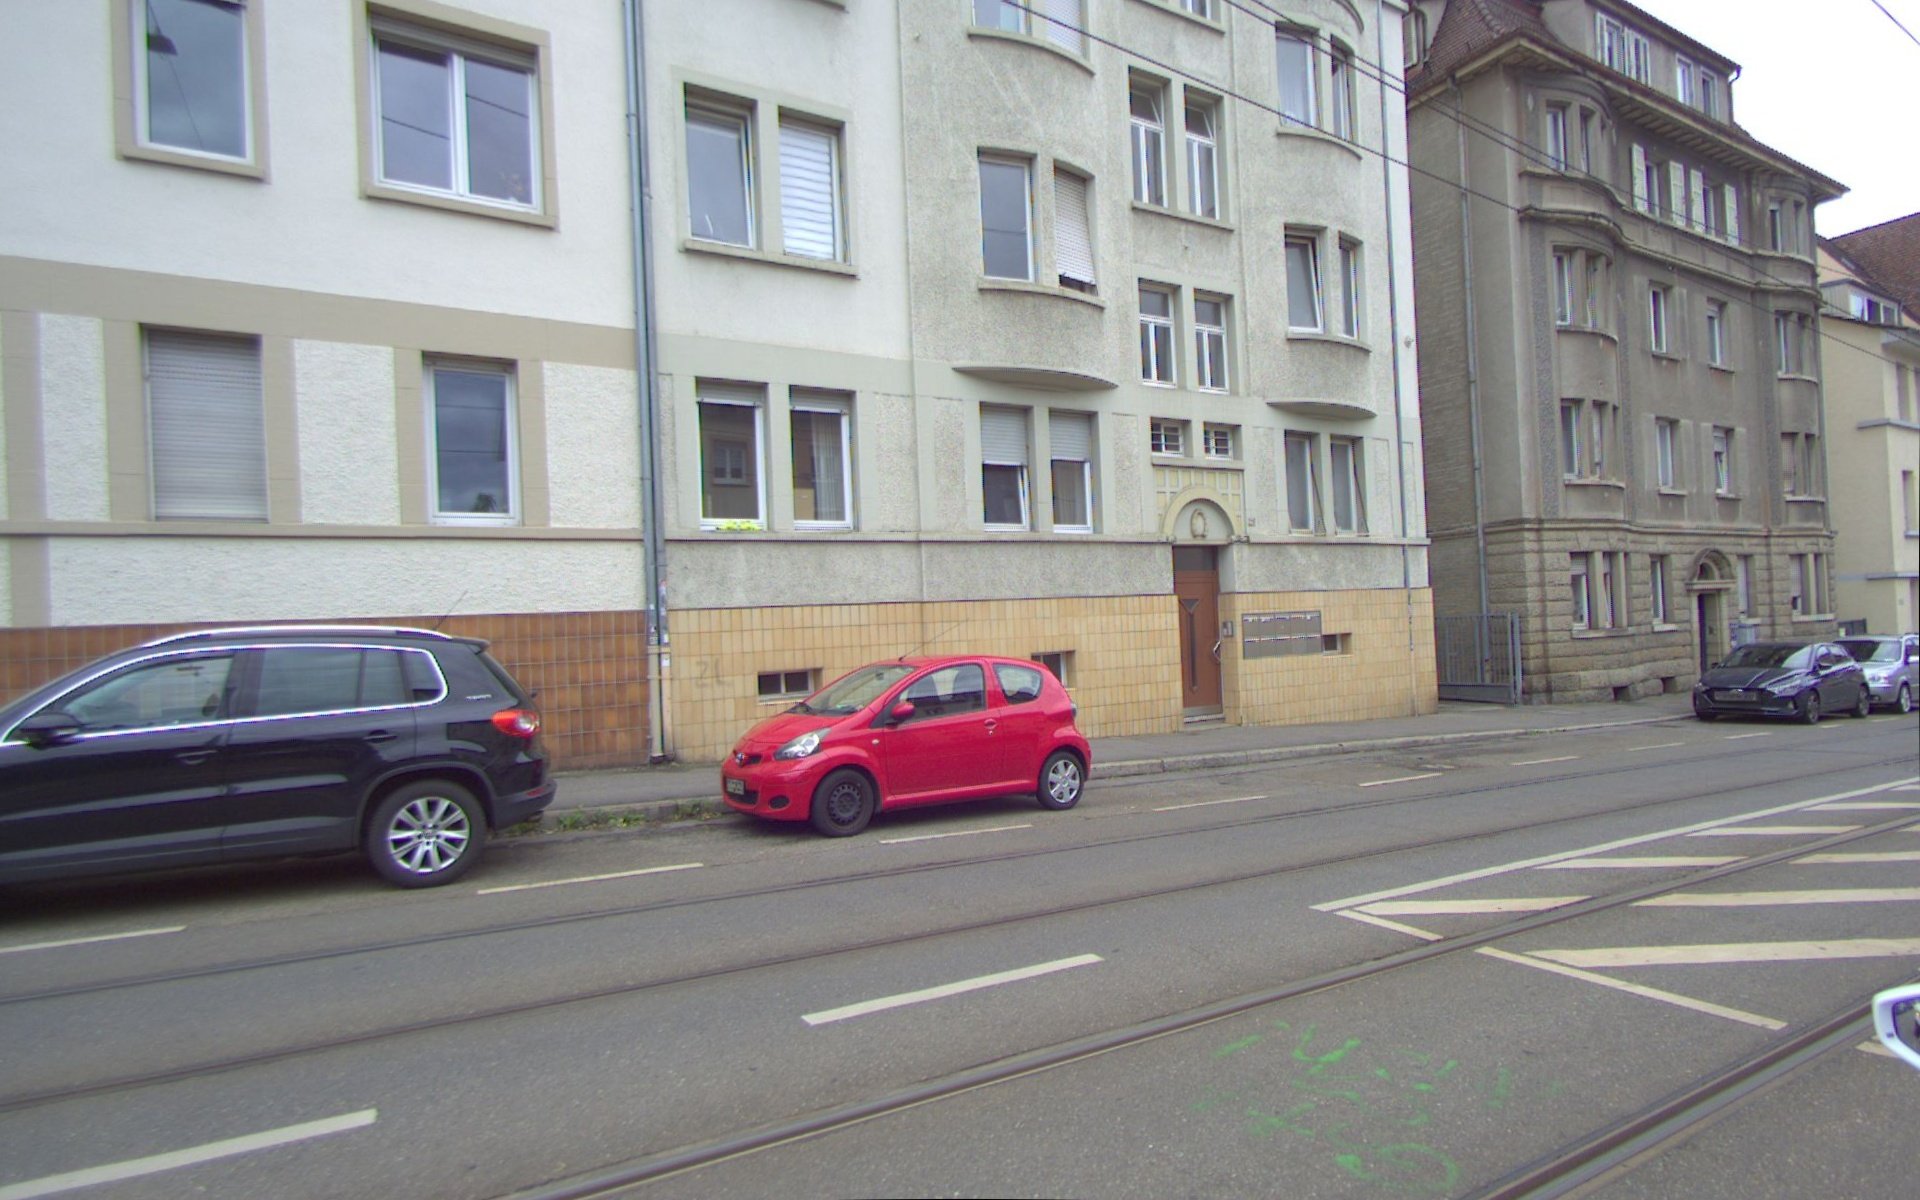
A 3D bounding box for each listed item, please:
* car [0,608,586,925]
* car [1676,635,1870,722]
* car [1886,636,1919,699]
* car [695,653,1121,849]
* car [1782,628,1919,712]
[{"bbox_3d":[-4.901,0.958,6.518,4.354,1.667,1.858,2,-4,-32],"label":"car"},{"bbox_3d":[15.340,1.453,18.908,3.989,1.482,1.612,2,-4,-32],"label":"car"},{"bbox_3d":[24.226,1.638,24.340,3.642,1.482,1.613,2,-4,-31],"label":"car"},{"bbox_3d":[-0.397,1.260,9.390,3.709,1.482,1.611,2,-4,-35],"label":"car"},{"bbox_3d":[19.323,1.481,21.317,4.303,1.625,1.612,2,-4,-32],"label":"car"}]
